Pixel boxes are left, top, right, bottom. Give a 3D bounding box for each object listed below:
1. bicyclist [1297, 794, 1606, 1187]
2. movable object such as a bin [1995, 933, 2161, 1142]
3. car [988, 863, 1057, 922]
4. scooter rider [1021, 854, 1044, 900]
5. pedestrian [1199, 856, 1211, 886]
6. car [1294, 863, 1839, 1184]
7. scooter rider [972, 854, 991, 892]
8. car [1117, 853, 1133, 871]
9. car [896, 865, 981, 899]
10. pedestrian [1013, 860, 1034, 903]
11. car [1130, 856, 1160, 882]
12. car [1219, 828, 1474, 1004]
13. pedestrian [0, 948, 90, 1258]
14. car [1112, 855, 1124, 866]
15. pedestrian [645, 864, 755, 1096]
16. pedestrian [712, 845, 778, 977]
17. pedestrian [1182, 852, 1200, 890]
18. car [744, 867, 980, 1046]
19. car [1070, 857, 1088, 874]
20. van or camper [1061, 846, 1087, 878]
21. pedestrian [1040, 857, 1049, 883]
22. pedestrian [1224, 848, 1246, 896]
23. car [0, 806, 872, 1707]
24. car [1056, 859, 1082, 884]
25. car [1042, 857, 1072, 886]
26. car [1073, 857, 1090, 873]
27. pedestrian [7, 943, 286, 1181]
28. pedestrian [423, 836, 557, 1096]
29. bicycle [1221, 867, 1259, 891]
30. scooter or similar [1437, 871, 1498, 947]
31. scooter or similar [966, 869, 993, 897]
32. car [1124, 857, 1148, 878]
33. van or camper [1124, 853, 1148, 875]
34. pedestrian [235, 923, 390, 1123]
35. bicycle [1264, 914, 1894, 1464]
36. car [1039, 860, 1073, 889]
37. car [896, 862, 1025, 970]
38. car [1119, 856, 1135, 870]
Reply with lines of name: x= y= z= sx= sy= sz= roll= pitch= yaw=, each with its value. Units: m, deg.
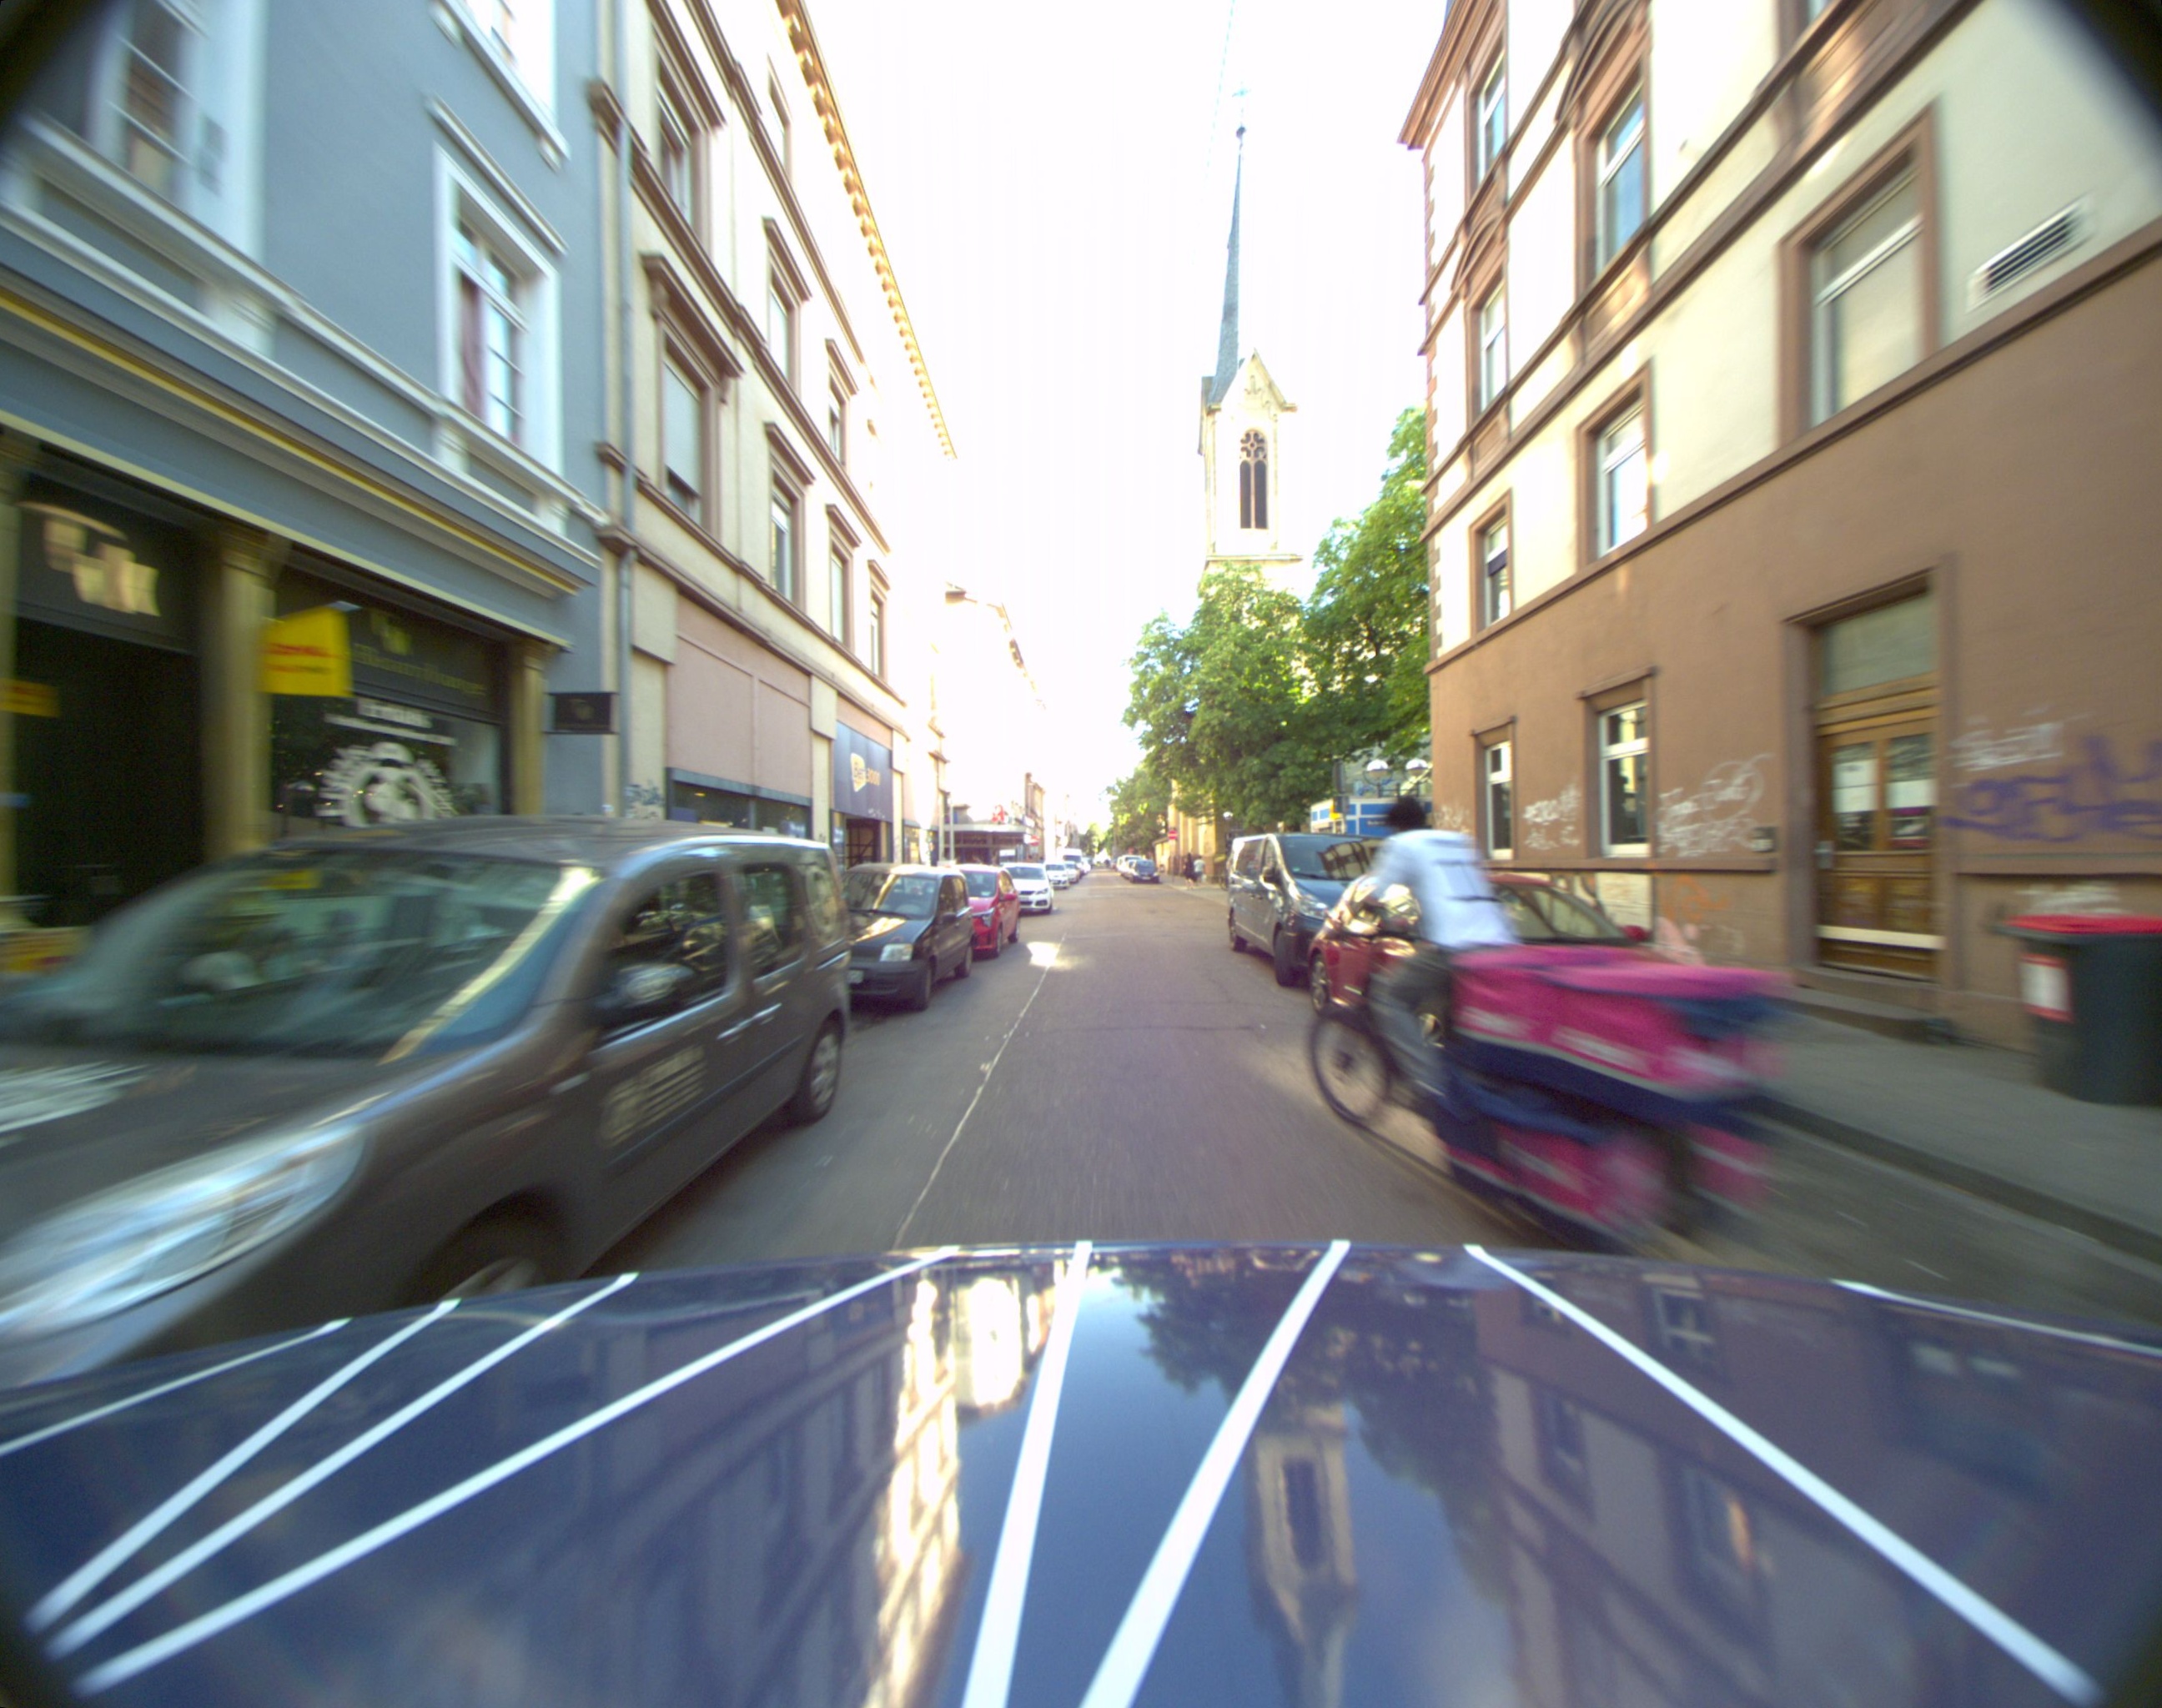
bicyclist: x=1.685 y=0.570 z=3.637 sx=0.953 sy=1.618 sz=0.952 roll=1 pitch=0 yaw=-5
movable object such as a bin: x=6.055 y=1.024 z=4.387 sx=0.760 sy=1.060 sz=0.652 roll=-2 pitch=1 yaw=21
car: x=-1.694 y=1.091 z=23.346 sx=1.791 sy=1.507 sz=4.136 roll=-2 pitch=0 yaw=-1
scooter rider: x=-1.880 y=0.901 z=29.599 sx=0.610 sy=1.768 sz=0.566 roll=-1 pitch=1 yaw=41
pedestrian: x=6.785 y=0.928 z=41.707 sx=0.480 sy=1.584 sz=0.714 roll=-2 pitch=1 yaw=-1
car: x=3.037 y=0.898 z=5.859 sx=1.755 sy=1.513 sz=3.869 roll=2 pitch=1 yaw=2
scooter rider: x=-4.424 y=0.846 z=33.731 sx=0.689 sy=1.638 sz=0.720 roll=-2 pitch=1 yaw=0
car: x=5.440 y=0.919 z=93.615 sx=1.777 sy=2.128 sz=4.023 roll=-2 pitch=0 yaw=2
car: x=-6.644 y=1.302 z=35.713 sx=3.582 sy=1.477 sz=1.789 roll=-1 pitch=1 yaw=2
pedestrian: x=-2.264 y=1.070 z=29.801 sx=0.566 sy=1.629 sz=0.527 roll=-3 pitch=1 yaw=-44
car: x=4.239 y=0.961 z=50.811 sx=1.798 sy=1.543 sz=3.834 roll=-2 pitch=1 yaw=2
car: x=3.390 y=0.703 z=10.997 sx=2.025 sy=1.868 sz=5.298 roll=-2 pitch=0 yaw=3
pedestrian: x=-4.913 y=1.077 z=3.155 sx=0.677 sy=1.269 sz=0.654 roll=-2 pitch=1 yaw=3
car: x=5.972 y=1.058 z=122.248 sx=1.777 sy=1.614 sz=4.022 roll=-2 pitch=0 yaw=0
pedestrian: x=-2.968 y=0.943 z=5.966 sx=0.442 sy=1.694 sz=0.654 roll=-2 pitch=1 yaw=2
pedestrian: x=-4.593 y=0.753 z=10.432 sx=0.630 sy=1.730 sz=0.658 roll=-2 pitch=1 yaw=-11
pedestrian: x=5.551 y=0.864 z=38.400 sx=0.718 sy=1.862 sz=0.720 roll=-2 pitch=1 yaw=1
car: x=-2.300 y=0.993 z=8.835 sx=1.573 sy=1.548 sz=3.314 roll=2 pitch=1 yaw=3
car: x=-0.165 y=1.174 z=77.137 sx=1.696 sy=1.615 sz=3.814 roll=-2 pitch=0 yaw=2
van or camper: x=-0.597 y=0.658 z=68.297 sx=1.998 sy=2.617 sz=5.979 roll=-2 pitch=1 yaw=2
pedestrian: x=-2.653 y=1.163 z=54.830 sx=0.563 sy=1.883 sz=0.530 roll=-2 pitch=1 yaw=1
pedestrian: x=6.032 y=0.701 z=29.768 sx=0.648 sy=1.823 sz=0.697 roll=-3 pitch=1 yaw=1
car: x=-2.452 y=0.842 z=3.020 sx=1.904 sy=1.783 sz=4.315 roll=-2 pitch=1 yaw=1
car: x=-0.780 y=1.145 z=52.145 sx=1.558 sy=1.517 sz=4.201 roll=-2 pitch=0 yaw=2
car: x=-1.449 y=1.058 z=47.178 sx=1.704 sy=1.640 sz=4.063 roll=-2 pitch=1 yaw=0
car: x=0.084 y=1.169 z=82.291 sx=1.696 sy=1.615 sz=3.964 roll=-2 pitch=0 yaw=2
pedestrian: x=-5.089 y=1.100 z=4.185 sx=0.677 sy=1.118 sz=0.654 roll=-2 pitch=1 yaw=3
pedestrian: x=-4.193 y=0.749 z=5.408 sx=0.426 sy=1.730 sz=0.564 roll=-2 pitch=1 yaw=30
bicycle: x=7.561 y=1.204 z=36.109 sx=1.694 sy=1.059 sz=0.346 roll=-2 pitch=1 yaw=0
scooter or similar: x=6.589 y=0.912 z=13.008 sx=0.348 sy=1.209 sz=1.392 roll=0 pitch=0 yaw=1
scooter or similar: x=-4.488 y=1.278 z=33.702 sx=1.057 sy=1.153 sz=0.514 roll=-2 pitch=1 yaw=1
car: x=4.390 y=1.058 z=61.022 sx=1.724 sy=1.558 sz=4.000 roll=-2 pitch=0 yaw=3
van or camper: x=5.181 y=0.907 z=72.169 sx=1.984 sy=1.939 sz=4.563 roll=-2 pitch=0 yaw=2
pedestrian: x=-5.099 y=1.098 z=5.069 sx=0.439 sy=1.215 sz=0.514 roll=-2 pitch=1 yaw=3
bicycle: x=1.709 y=1.020 z=3.387 sx=0.980 sy=1.306 sz=2.554 roll=0 pitch=0 yaw=-5
car: x=-1.363 y=1.104 z=42.036 sx=1.693 sy=1.454 sz=3.640 roll=-2 pitch=1 yaw=-1
car: x=-2.006 y=0.986 z=13.587 sx=1.610 sy=1.563 sz=3.553 roll=-2 pitch=1 yaw=1
car: x=5.309 y=1.013 z=88.202 sx=1.696 sy=1.529 sz=3.814 roll=-2 pitch=0 yaw=2
